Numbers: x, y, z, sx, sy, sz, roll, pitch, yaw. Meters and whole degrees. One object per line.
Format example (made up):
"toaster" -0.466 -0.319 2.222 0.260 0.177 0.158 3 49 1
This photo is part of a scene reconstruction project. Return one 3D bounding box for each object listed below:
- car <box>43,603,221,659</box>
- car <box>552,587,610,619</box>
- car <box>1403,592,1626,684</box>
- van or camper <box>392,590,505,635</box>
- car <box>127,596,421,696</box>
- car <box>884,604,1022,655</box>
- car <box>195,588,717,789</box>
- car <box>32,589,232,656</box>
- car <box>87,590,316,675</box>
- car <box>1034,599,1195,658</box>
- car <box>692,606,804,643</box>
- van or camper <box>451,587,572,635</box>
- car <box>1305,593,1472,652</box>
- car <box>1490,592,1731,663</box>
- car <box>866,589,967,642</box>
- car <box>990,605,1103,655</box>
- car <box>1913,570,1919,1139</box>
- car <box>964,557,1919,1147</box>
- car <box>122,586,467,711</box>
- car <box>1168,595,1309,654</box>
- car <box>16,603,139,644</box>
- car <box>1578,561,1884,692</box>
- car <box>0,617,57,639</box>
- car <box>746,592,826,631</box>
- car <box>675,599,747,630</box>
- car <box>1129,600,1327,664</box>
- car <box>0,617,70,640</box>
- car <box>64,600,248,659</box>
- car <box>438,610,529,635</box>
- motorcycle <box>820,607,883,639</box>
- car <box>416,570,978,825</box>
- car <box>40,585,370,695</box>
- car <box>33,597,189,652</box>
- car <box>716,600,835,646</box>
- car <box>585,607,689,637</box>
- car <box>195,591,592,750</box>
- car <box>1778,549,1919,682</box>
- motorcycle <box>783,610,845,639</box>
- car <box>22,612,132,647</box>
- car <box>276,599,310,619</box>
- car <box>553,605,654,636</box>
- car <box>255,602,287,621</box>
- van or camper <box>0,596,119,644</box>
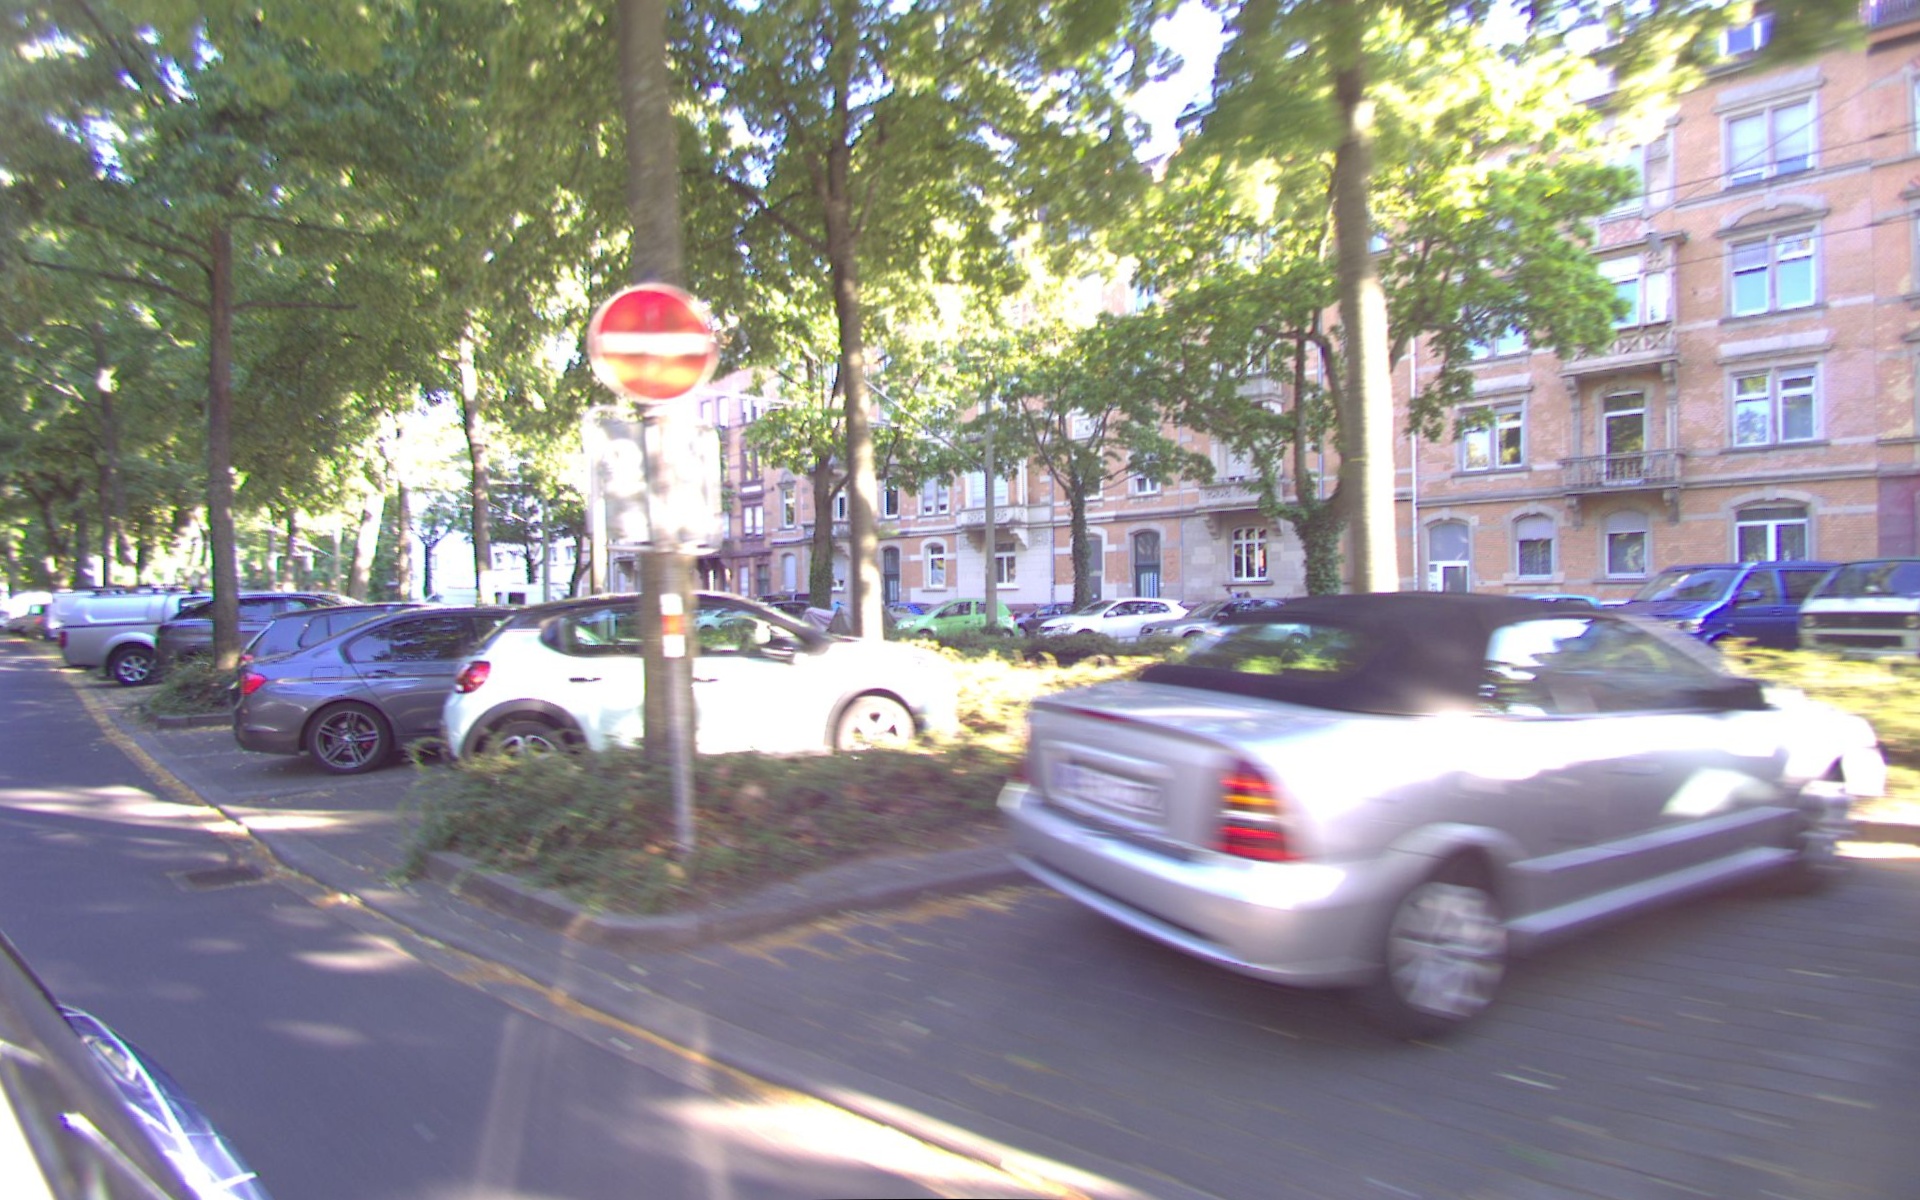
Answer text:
"car" -29.426 1.064 36.145 4.442 1.628 1.941 -3 2 -20
"car" -24.278 0.216 64.772 4.001 2.029 1.971 -1 -1 44
"car" 10.682 0.694 19.569 3.589 1.652 1.665 0 -1 -15
"van or camper" -29.255 0.730 58.065 5.579 2.487 2.006 0 -1 -21
"car" -12.484 0.790 18.728 4.090 1.470 1.776 -3 2 -16
"car" -0.221 0.844 29.746 3.674 1.391 1.713 0 -1 -19
"car" -4.615 0.713 9.885 4.128 1.449 1.838 -3 2 -19
"car" -31.291 0.792 38.466 5.422 2.153 2.087 -3 2 -15
"car" -18.794 0.755 25.253 4.095 1.794 1.887 -3 2 -7
"car" 3.924 0.701 25.846 3.674 1.391 1.732 0 -1 -20
"car" -8.099 0.897 38.648 3.930 1.327 1.599 0 -1 -25
"van or camper" -22.922 0.584 52.025 5.457 2.389 2.314 0 -1 -17
"car" 12.386 0.656 29.391 4.060 1.530 1.831 -2 1 44
"car" 16.144 0.686 25.292 4.772 1.552 1.831 -2 1 44
"car" -1.883 0.679 42.805 4.001 2.028 1.972 -2 1 44
"car" 3.197 1.093 37.821 4.000 1.789 1.774 -1 -1 43
"car" 4.534 0.573 2.715 3.971 1.416 1.780 -2 1 -30
"car" 2.187 0.603 4.300 3.917 1.375 1.780 -4 2 -28
"car" -10.663 0.701 16.616 4.284 1.638 1.947 -3 2 -16
"car" 8.896 0.765 32.484 4.000 1.789 1.774 -1 -1 43
"car" -50.330 1.331 57.843 4.804 1.992 2.051 -3 2 -16
"car" 12.933 0.404 17.078 3.933 2.029 2.005 0 -1 -13
"car" -68.985 2.100 73.814 4.240 1.415 1.750 -3 1 -23
"car" -8.561 0.574 49.671 4.025 1.796 1.830 -1 -3 44
"car" -13.306 0.783 53.951 4.025 1.543 1.830 -1 -3 44
"car" 6.260 0.724 23.780 4.217 1.391 1.598 0 -1 -13
"car" -66.618 2.034 72.134 4.389 1.415 1.863 -3 1 -20
"car" -26.975 0.951 34.107 4.445 1.628 1.859 -3 2 -12
"car" -26.325 1.231 56.016 4.253 1.373 1.734 0 -1 -12
"motorcycle" -3.382 0.702 31.475 1.697 0.962 1.024 0 -1 -24
"car" -1.995 0.613 8.101 3.818 1.505 1.838 -3 2 -17
"car" -15.066 0.726 20.556 4.917 1.794 1.994 -3 2 -16
"car" -35.862 1.001 42.874 4.636 1.957 1.939 -3 2 -11
"car" -6.646 0.795 36.332 3.931 1.590 2.006 0 -1 -19
"car" -13.666 0.913 42.952 4.132 1.176 1.504 0 -1 -17
"car" -6.462 0.724 12.069 3.806 1.449 1.838 -3 2 -19
"car" 14.878 0.204 14.877 4.754 1.778 2.091 0 -1 -17
"motorcycle" -4.703 0.792 32.588 1.946 0.895 1.022 -1 -1 -8
"car" -44.605 1.459 51.200 3.763 1.449 1.830 -3 2 -11
"car" -70.762 0.964 107.378 3.998 2.029 1.973 -1 -1 41
"car" -15.780 0.883 44.990 4.118 1.320 1.641 0 -1 -16
"car" -75.866 1.305 111.476 3.998 2.029 1.973 -1 -1 41
"van or camper" -53.130 1.147 59.796 4.803 2.489 2.051 -3 2 -18
